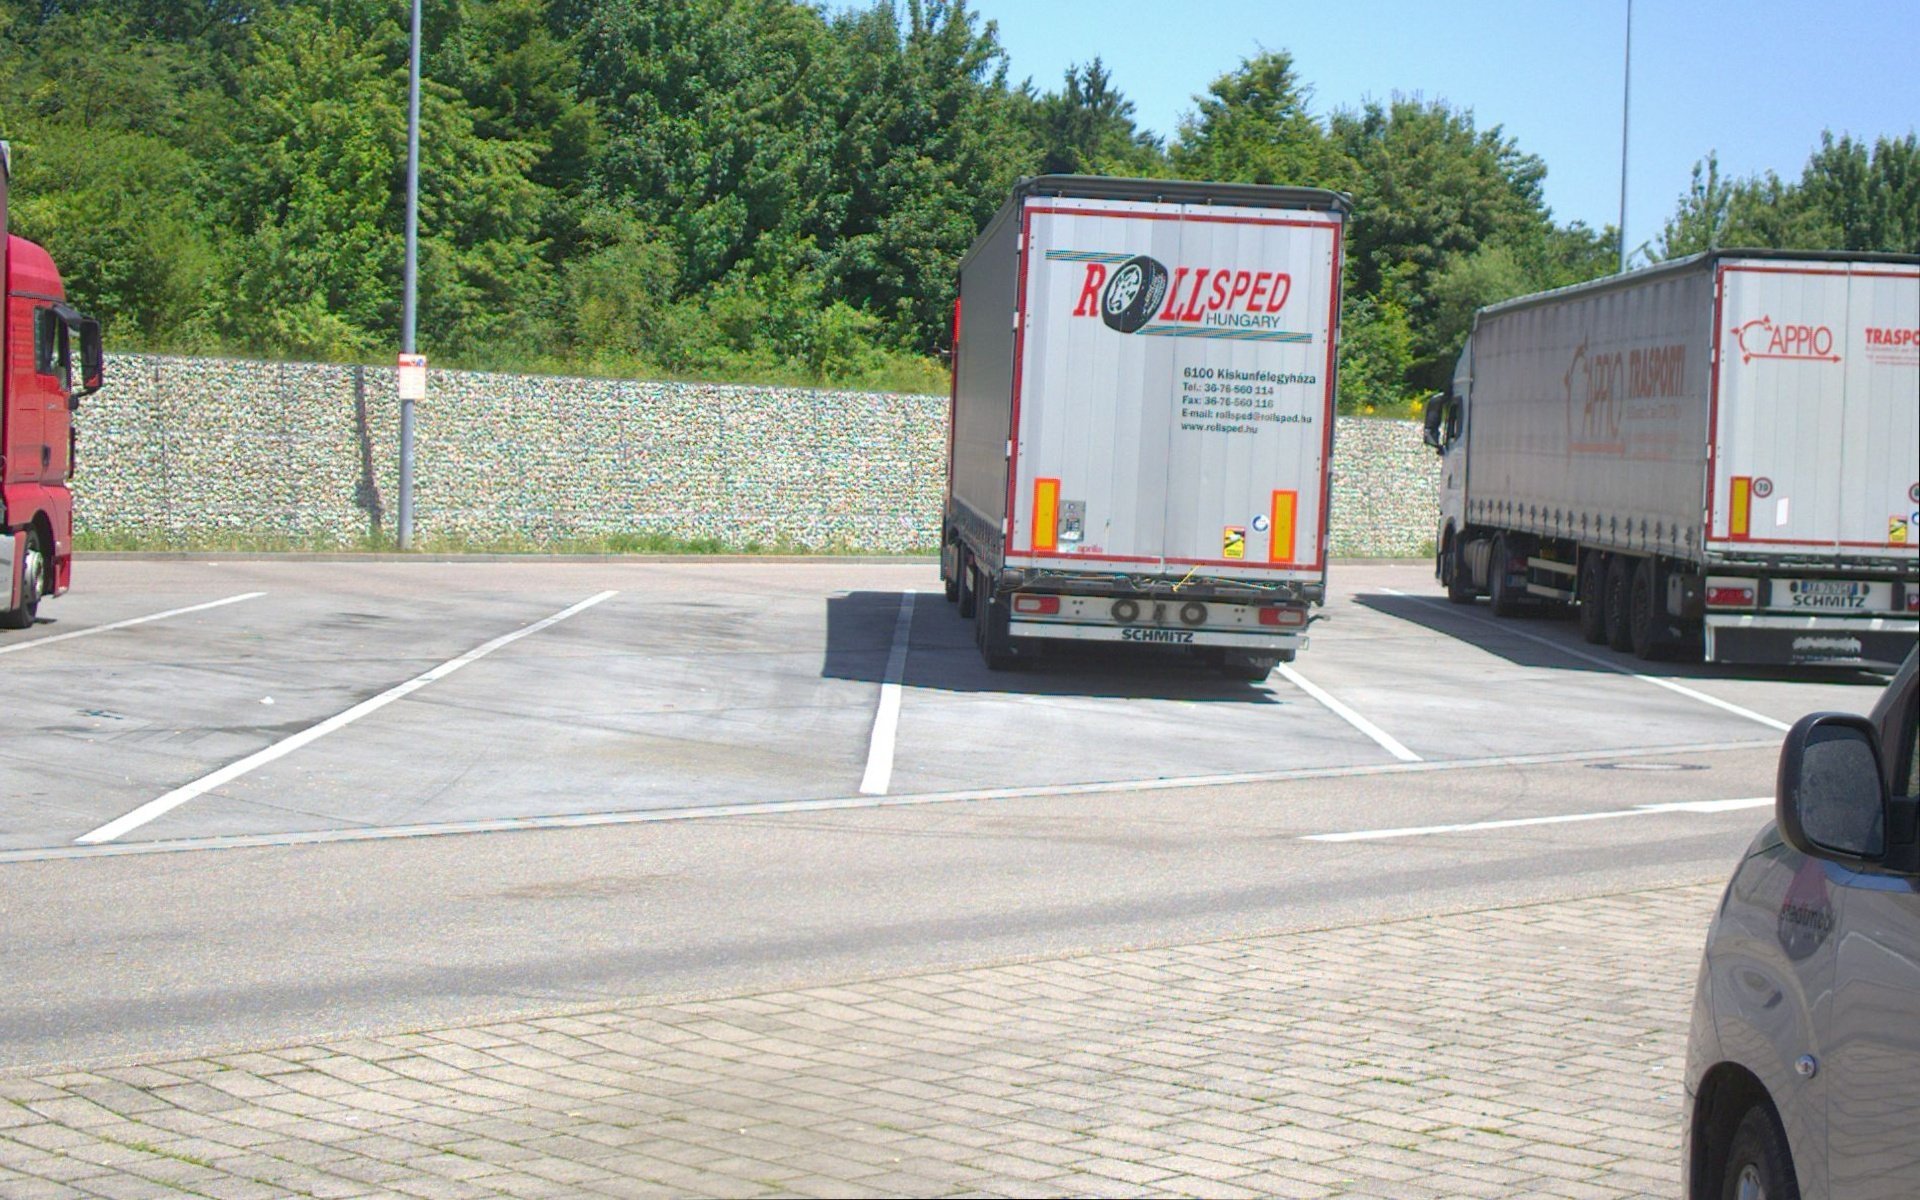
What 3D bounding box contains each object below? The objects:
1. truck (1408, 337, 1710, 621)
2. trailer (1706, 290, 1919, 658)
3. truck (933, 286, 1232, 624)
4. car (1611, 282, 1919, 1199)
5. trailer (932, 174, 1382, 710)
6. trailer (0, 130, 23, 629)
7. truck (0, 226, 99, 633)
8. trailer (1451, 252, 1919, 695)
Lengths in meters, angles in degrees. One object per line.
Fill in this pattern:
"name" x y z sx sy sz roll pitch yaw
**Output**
"truck" 8.027 -1.699 46.804 2.862 3.509 5.900 2 3 -1
"trailer" 11.760 -1.456 39.755 2.811 3.976 14.396 2 3 -1
"truck" 1.315 -1.735 40.484 3.103 3.554 5.900 2 3 -1
"car" 2.150 0.584 3.823 1.869 1.857 4.177 2 2 -2
"trailer" 1.452 -1.593 33.592 3.133 3.976 14.397 2 3 -1
"trailer" -9.191 -1.488 21.543 2.791 4.071 14.133 2 3 -1
"truck" -9.235 -1.443 28.117 2.851 3.316 5.900 2 3 -1
"trailer" 8.119 -1.524 38.704 2.811 3.976 14.396 2 3 -1
